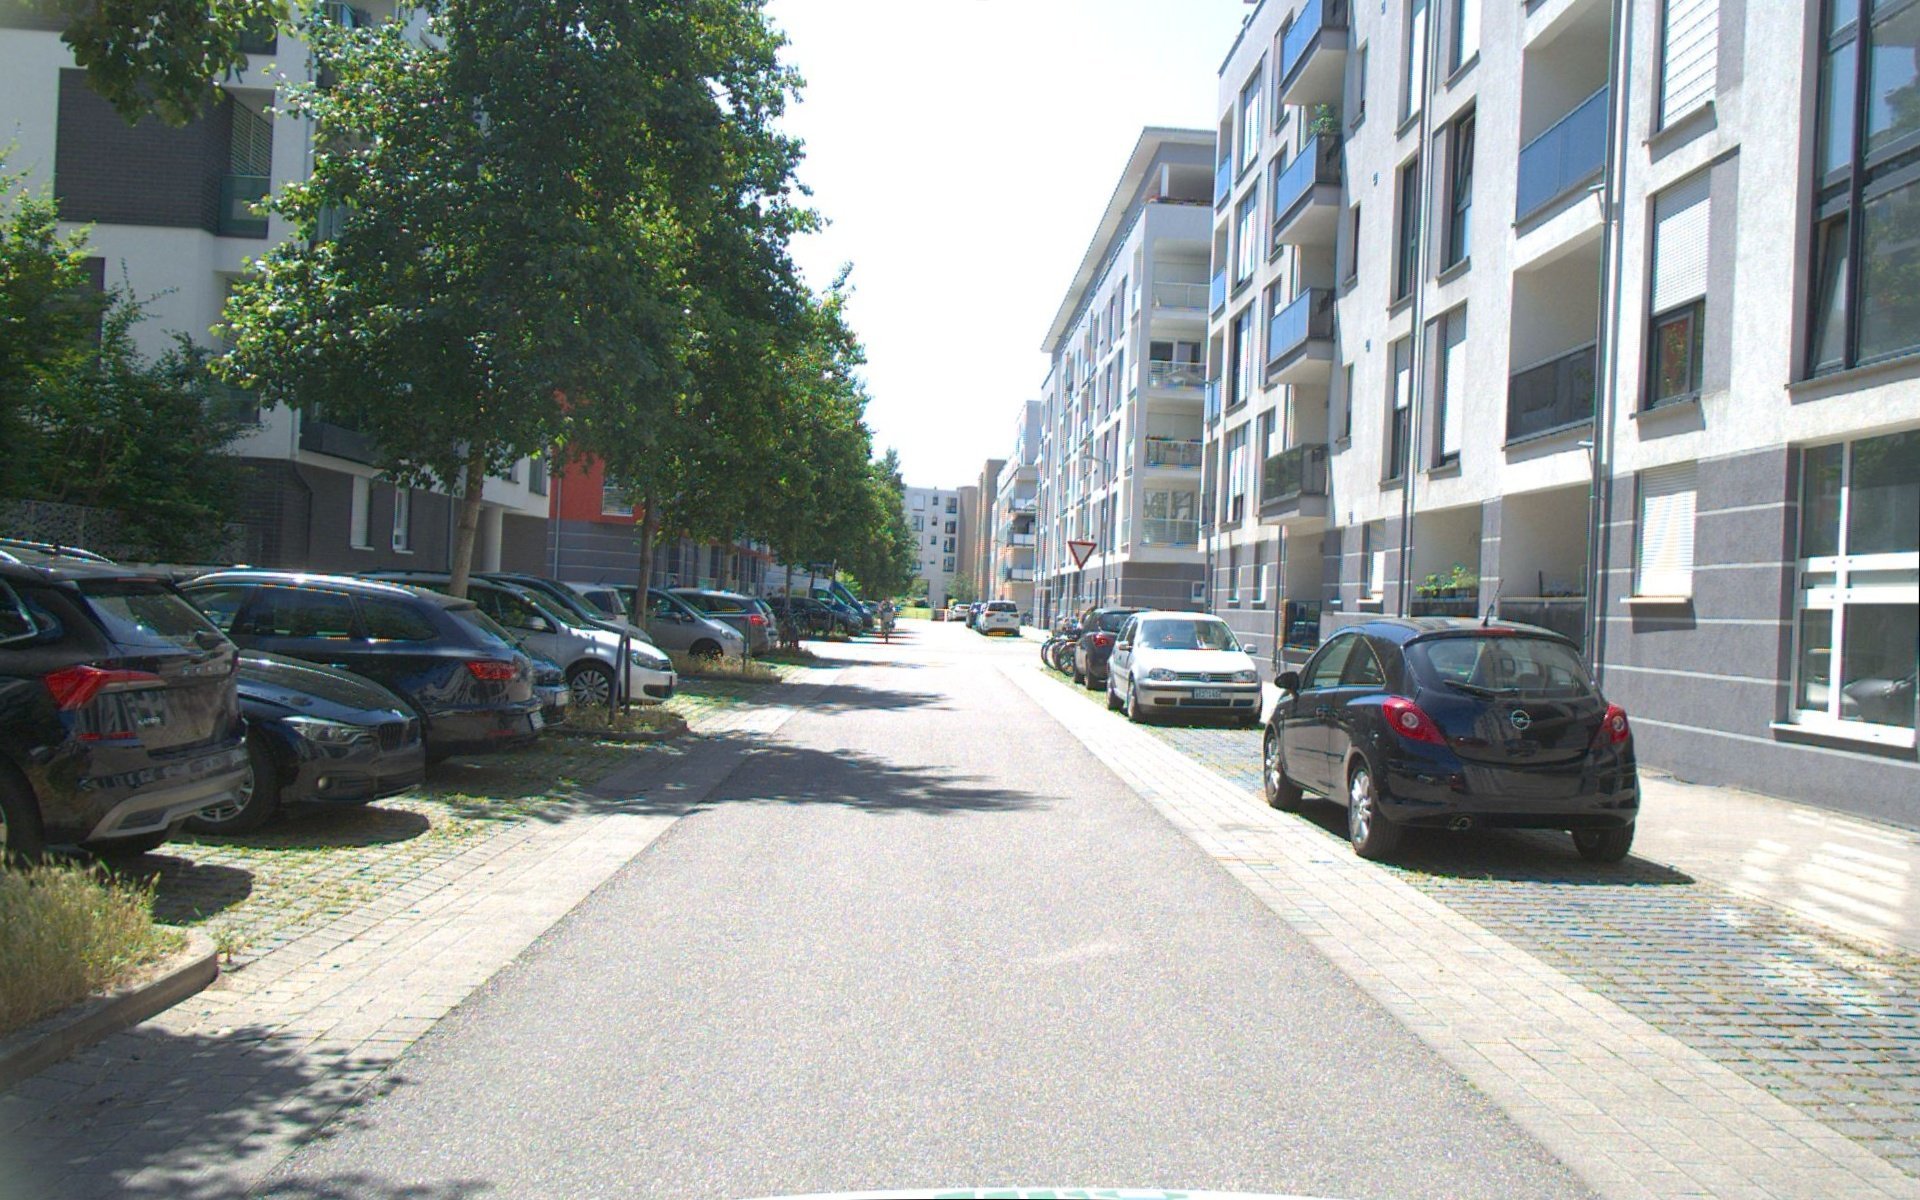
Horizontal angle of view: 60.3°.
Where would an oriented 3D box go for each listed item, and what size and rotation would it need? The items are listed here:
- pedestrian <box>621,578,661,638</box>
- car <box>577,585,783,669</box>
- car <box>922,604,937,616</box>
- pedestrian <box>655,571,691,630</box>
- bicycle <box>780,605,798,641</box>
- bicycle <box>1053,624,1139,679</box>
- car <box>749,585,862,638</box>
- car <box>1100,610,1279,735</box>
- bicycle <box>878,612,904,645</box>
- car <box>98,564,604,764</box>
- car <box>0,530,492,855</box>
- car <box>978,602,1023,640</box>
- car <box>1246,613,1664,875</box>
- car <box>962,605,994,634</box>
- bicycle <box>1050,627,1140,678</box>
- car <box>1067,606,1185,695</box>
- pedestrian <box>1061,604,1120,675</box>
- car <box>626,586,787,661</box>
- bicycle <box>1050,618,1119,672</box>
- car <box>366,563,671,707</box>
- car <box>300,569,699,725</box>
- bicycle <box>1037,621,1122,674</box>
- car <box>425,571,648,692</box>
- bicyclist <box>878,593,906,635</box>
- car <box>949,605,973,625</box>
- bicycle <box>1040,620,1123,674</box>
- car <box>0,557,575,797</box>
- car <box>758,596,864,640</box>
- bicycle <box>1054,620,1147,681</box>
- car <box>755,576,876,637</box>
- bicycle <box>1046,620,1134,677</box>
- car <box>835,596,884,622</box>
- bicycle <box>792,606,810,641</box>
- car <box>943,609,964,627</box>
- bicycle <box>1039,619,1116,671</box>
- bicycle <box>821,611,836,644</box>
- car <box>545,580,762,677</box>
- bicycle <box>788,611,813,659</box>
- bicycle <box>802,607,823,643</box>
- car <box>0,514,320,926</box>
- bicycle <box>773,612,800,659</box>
[{"bbox_3d":[-9.449,0.226,48.987,0.980,1.720,0.832,2,-1,-1],"label":"pedestrian"},{"bbox_3d":[-5.923,0.585,35.381,4.099,1.512,1.957,4,-2,-5],"label":"car"},{"bbox_3d":[-4.327,1.358,230.750,1.954,1.545,3.998,2,0,-2],"label":"car"},{"bbox_3d":[-10.197,0.028,58.724,0.988,2.049,1.129,2,-1,2],"label":"pedestrian"},{"bbox_3d":[-6.355,0.846,61.551,0.508,1.225,1.751,4,1,-3],"label":"bicycle"},{"bbox_3d":[2.940,1.106,35.798,1.751,1.123,0.746,1,-1,-5],"label":"bicycle"},{"bbox_3d":[-7.303,0.524,78.577,5.042,2.156,2.311,4,0,-2],"label":"car"},{"bbox_3d":[3.092,0.927,23.092,1.797,1.531,4.349,1,0,-1],"label":"car"},{"bbox_3d":[-2.507,1.040,60.279,0.880,1.149,2.039,2,0,-2],"label":"bicycle"},{"bbox_3d":[-5.514,0.558,15.376,3.906,1.447,1.897,4,0,-1],"label":"car"},{"bbox_3d":[-5.190,0.465,10.262,3.906,1.679,1.918,4,0,0],"label":"car"},{"bbox_3d":[1.905,0.990,78.827,1.957,1.686,4.114,2,0,-1],"label":"car"},{"bbox_3d":[3.246,0.857,11.706,1.609,1.488,4.116,1,0,-2],"label":"car"},{"bbox_3d":[1.097,1.161,98.916,1.721,1.579,4.001,3,0,2],"label":"car"},{"bbox_3d":[2.972,1.157,36.493,1.886,1.053,0.559,1,-1,-5],"label":"bicycle"},{"bbox_3d":[3.078,0.902,31.411,1.703,1.511,4.227,2,0,-1],"label":"car"},{"bbox_3d":[2.930,0.888,37.283,1.157,1.541,0.686,1,0,-11],"label":"pedestrian"},{"bbox_3d":[-6.132,0.562,40.294,3.557,1.547,1.831,4,0,-2],"label":"car"},{"bbox_3d":[2.957,1.075,39.392,1.520,1.239,0.707,1,-1,-3],"label":"bicycle"},{"bbox_3d":[-5.849,0.465,22.321,3.638,1.613,1.818,4,-1,-7],"label":"car"},{"bbox_3d":[-5.404,0.544,19.917,4.274,1.740,1.998,1,0,-4],"label":"car"},{"bbox_3d":[2.761,1.091,38.099,1.882,1.153,0.609,1,-1,8],"label":"bicycle"},{"bbox_3d":[-6.411,0.467,25.309,2.875,1.526,1.847,5,0,-3],"label":"car"},{"bbox_3d":[-2.478,0.502,60.300,0.934,1.485,0.799,2,0,-2],"label":"bicyclist"},{"bbox_3d":[0.082,1.349,147.445,1.954,1.704,3.998,2,0,-3],"label":"car"},{"bbox_3d":[2.844,1.082,38.707,1.882,1.200,0.639,1,-1,8],"label":"bicycle"},{"bbox_3d":[-5.132,0.563,12.761,3.898,1.470,1.773,4,-1,-5],"label":"car"},{"bbox_3d":[-6.401,0.779,71.413,4.295,1.541,2.074,4,0,-2],"label":"car"},{"bbox_3d":[2.968,1.069,35.053,1.833,1.239,0.715,1,-1,-5],"label":"bicycle"},{"bbox_3d":[-7.293,0.341,84.011,5.902,2.865,2.604,2,0,-2],"label":"car"},{"bbox_3d":[2.926,1.082,37.154,1.888,1.239,0.459,1,-1,-11],"label":"bicycle"},{"bbox_3d":[-8.658,0.794,142.817,3.903,2.049,2.001,2,0,5],"label":"car"},{"bbox_3d":[-5.894,0.876,61.310,0.425,1.225,1.699,4,1,-1],"label":"bicycle"},{"bbox_3d":[-0.700,1.869,174.650,1.954,1.747,3.998,2,0,-2],"label":"car"},{"bbox_3d":[2.834,1.085,40.099,1.821,1.214,0.687,1,-1,1],"label":"bicycle"},{"bbox_3d":[-4.899,1.007,61.548,0.456,1.161,1.925,2,0,-3],"label":"bicycle"},{"bbox_3d":[-5.949,0.539,32.484,3.859,1.580,1.871,4,0,-2],"label":"car"},{"bbox_3d":[-4.137,0.893,42.864,0.364,1.201,1.815,2,0,-13],"label":"bicycle"},{"bbox_3d":[-5.471,0.927,61.314,0.560,1.194,1.765,5,1,-8],"label":"bicycle"},{"bbox_3d":[-5.372,0.380,7.732,3.907,1.657,1.932,4,0,-2],"label":"car"},{"bbox_3d":[-4.491,0.908,42.826,0.426,1.147,1.972,2,0,-13],"label":"bicycle"}]
